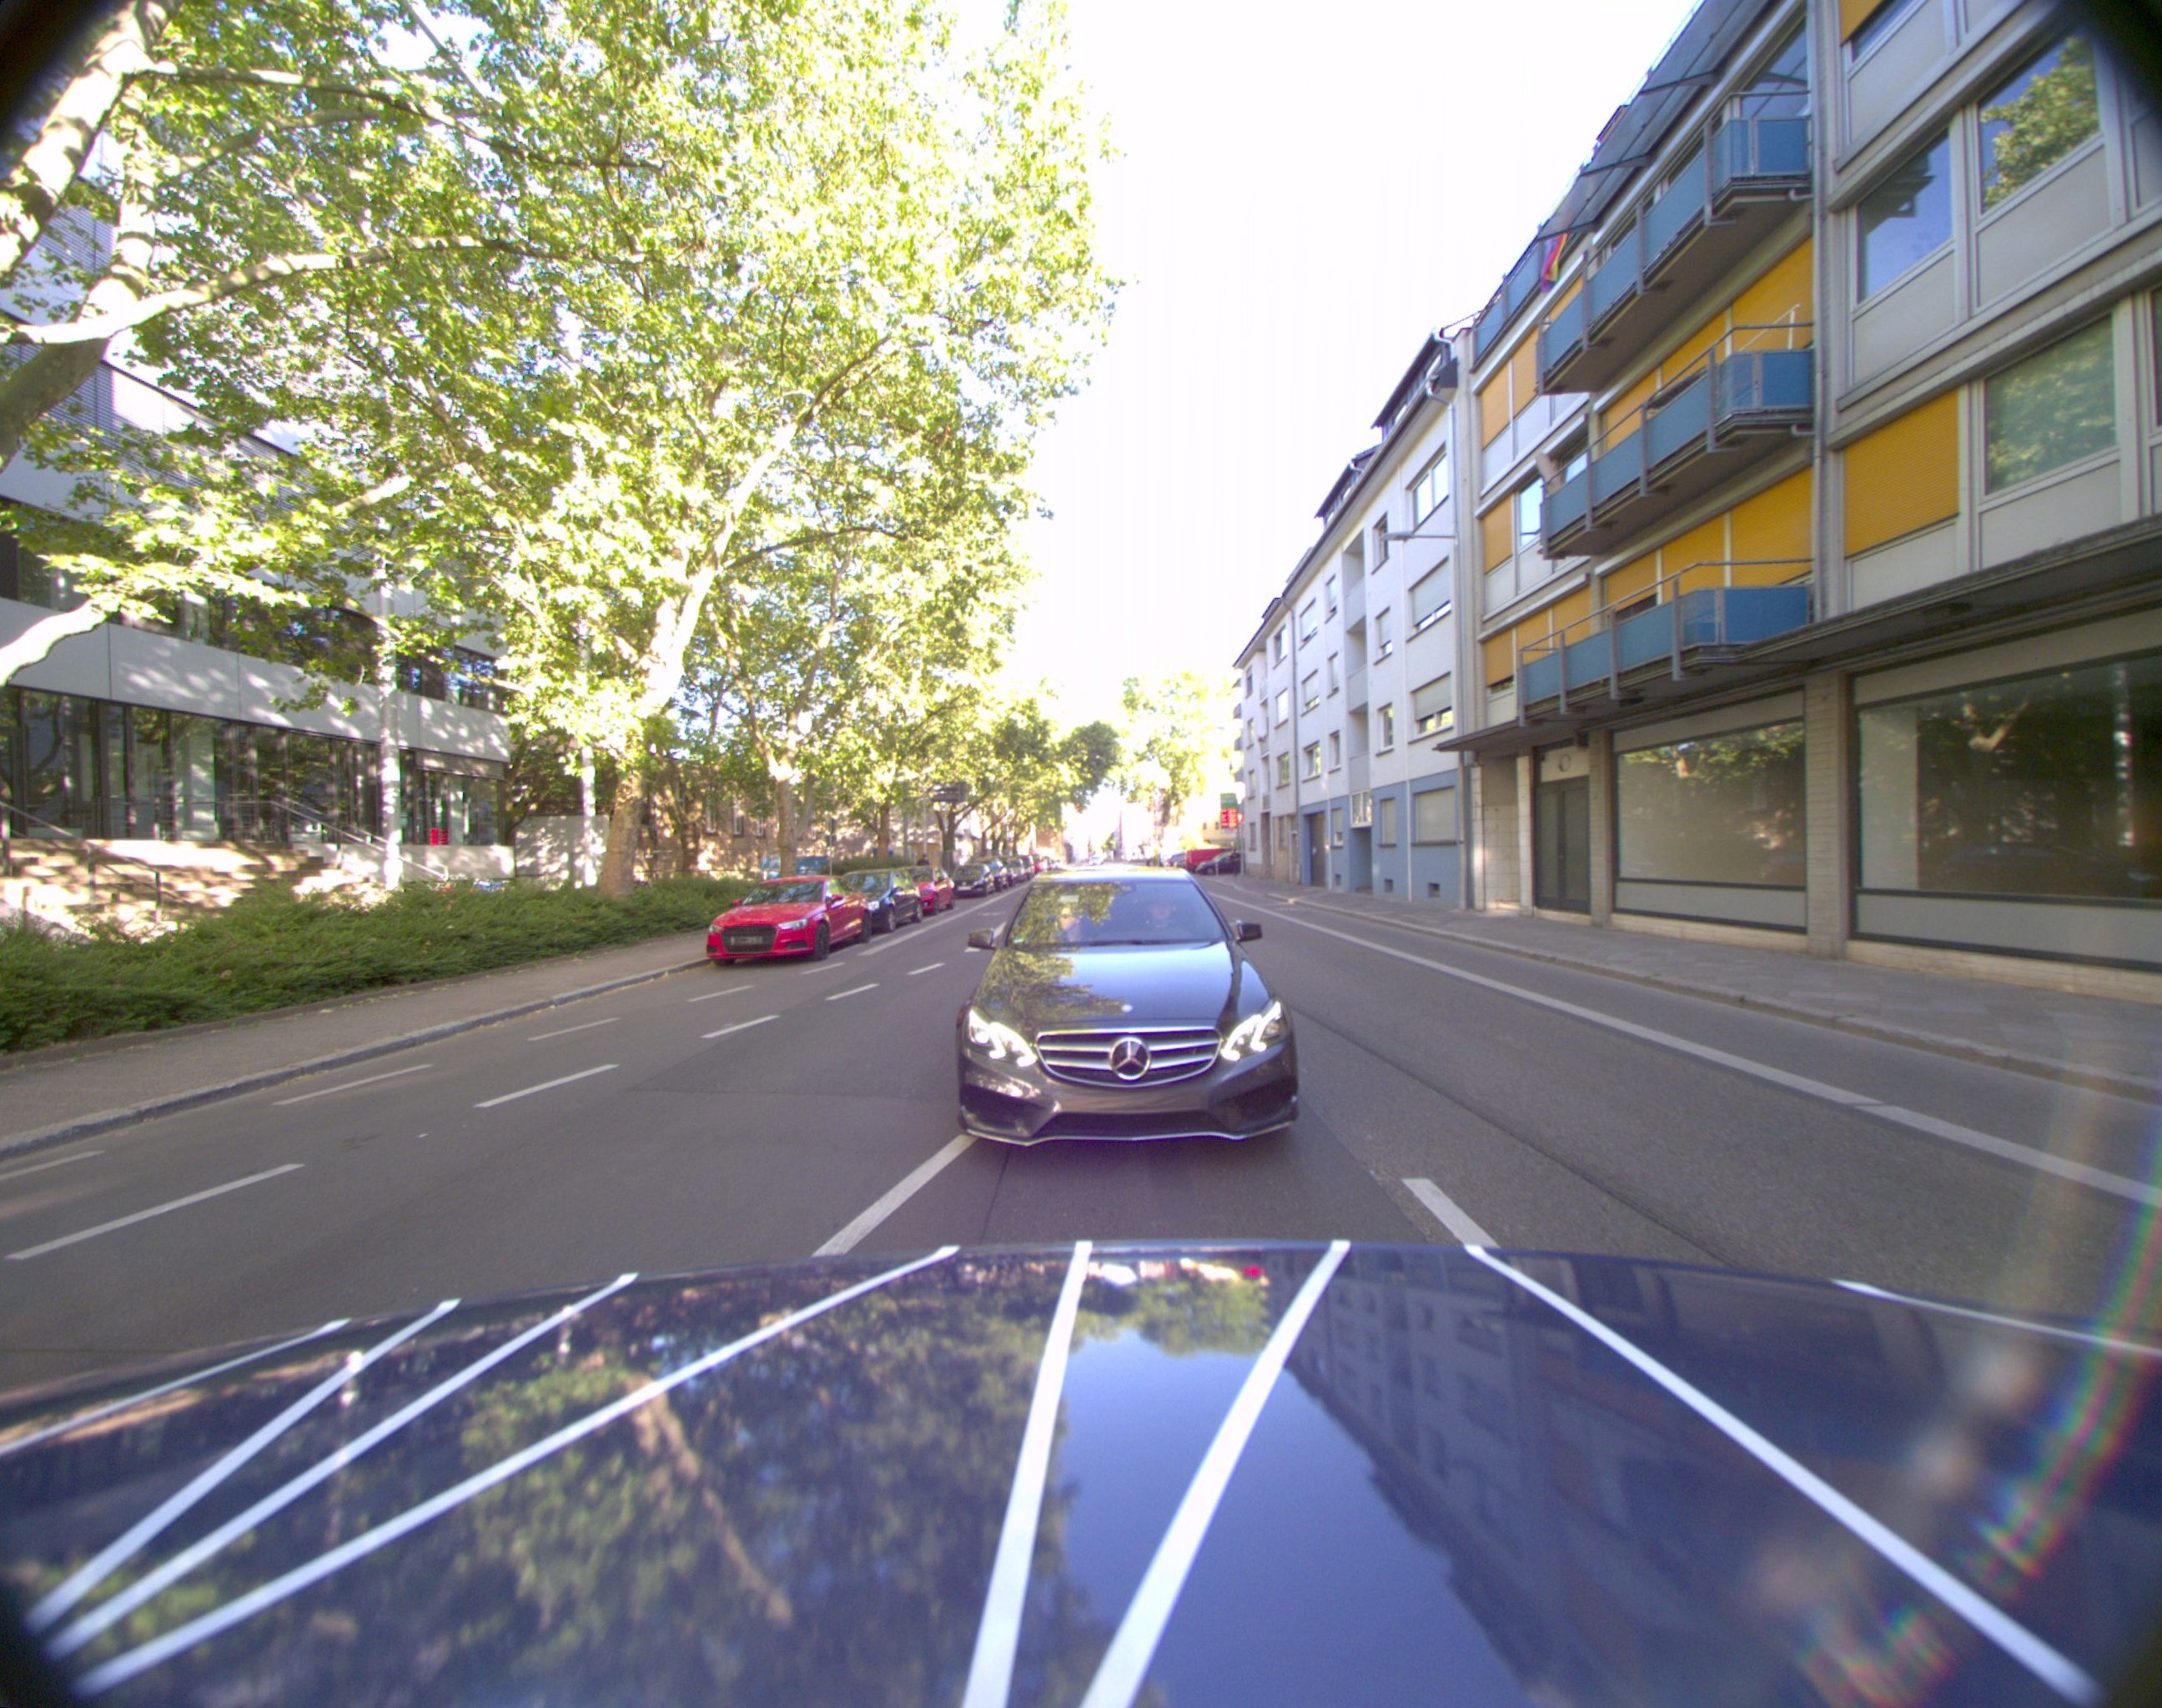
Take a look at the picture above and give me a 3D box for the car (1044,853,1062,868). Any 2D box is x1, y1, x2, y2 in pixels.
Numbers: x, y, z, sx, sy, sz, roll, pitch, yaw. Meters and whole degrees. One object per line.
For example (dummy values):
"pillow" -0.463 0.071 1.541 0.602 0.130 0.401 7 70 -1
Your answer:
"car" -3.406 0.787 92.842 1.835 1.667 4.259 -2 0 1

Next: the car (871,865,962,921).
"car" -5.042 1.136 23.840 1.835 1.459 4.168 -2 0 1

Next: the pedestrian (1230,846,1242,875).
"pedestrian" 9.162 0.367 44.878 0.611 1.685 0.656 -1 1 17

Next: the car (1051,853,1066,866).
"car" -3.040 0.685 102.949 1.835 1.667 4.259 -2 0 1

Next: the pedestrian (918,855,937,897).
"pedestrian" -6.847 0.967 33.827 0.660 1.849 0.641 -2 1 1

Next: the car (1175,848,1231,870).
"car" 10.055 0.407 62.710 4.255 1.461 1.653 -4 0 1

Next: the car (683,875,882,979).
"car" -5.130 1.179 13.770 1.835 1.396 4.247 -2 0 1

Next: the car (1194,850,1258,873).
"car" 10.403 0.517 54.746 4.255 1.392 1.653 -4 0 1

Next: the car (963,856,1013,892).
"car" -4.595 0.965 38.074 1.835 1.596 4.161 -2 0 1

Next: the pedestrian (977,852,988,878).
"pedestrian" -6.878 0.772 53.044 0.601 1.785 0.593 -2 1 0

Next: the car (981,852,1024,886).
"car" -4.508 0.823 44.114 1.835 1.787 4.463 -2 0 1

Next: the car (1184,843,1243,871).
"car" 10.418 0.221 60.128 4.255 1.907 1.818 -4 0 0

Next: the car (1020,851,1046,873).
"car" -4.142 0.683 66.347 1.835 1.839 4.259 -2 0 1

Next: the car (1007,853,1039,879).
"car" -4.176 0.813 55.639 1.835 1.750 4.259 -2 0 1

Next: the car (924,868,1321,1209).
"car" 0.227 0.918 5.756 1.849 1.490 4.302 -1 0 1

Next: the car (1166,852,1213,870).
"car" 10.437 0.672 73.191 4.255 1.461 1.653 -4 0 1

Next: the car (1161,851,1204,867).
"car" 10.779 0.513 80.613 4.255 1.461 1.653 -4 0 1

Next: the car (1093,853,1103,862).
"car" 2.980 0.557 134.986 1.726 1.530 4.000 -1 0 1

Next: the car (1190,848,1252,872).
"car" 10.487 0.454 57.048 4.255 1.461 1.653 -4 0 1

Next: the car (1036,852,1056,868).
"car" -3.934 0.668 86.226 1.835 1.667 4.259 -2 0 1

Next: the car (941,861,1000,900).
"car" -4.744 1.105 33.177 1.835 1.459 4.168 -2 0 1

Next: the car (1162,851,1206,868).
"car" 10.608 0.539 78.649 4.255 1.461 1.653 -4 0 1

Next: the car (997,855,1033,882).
"car" -4.335 0.948 50.607 1.835 1.604 4.259 -2 0 1

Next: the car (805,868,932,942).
"car" -5.040 1.152 18.630 1.835 1.438 4.168 -2 0 1

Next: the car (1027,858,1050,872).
"car" -3.986 1.027 71.787 1.835 1.220 4.259 -2 0 1
